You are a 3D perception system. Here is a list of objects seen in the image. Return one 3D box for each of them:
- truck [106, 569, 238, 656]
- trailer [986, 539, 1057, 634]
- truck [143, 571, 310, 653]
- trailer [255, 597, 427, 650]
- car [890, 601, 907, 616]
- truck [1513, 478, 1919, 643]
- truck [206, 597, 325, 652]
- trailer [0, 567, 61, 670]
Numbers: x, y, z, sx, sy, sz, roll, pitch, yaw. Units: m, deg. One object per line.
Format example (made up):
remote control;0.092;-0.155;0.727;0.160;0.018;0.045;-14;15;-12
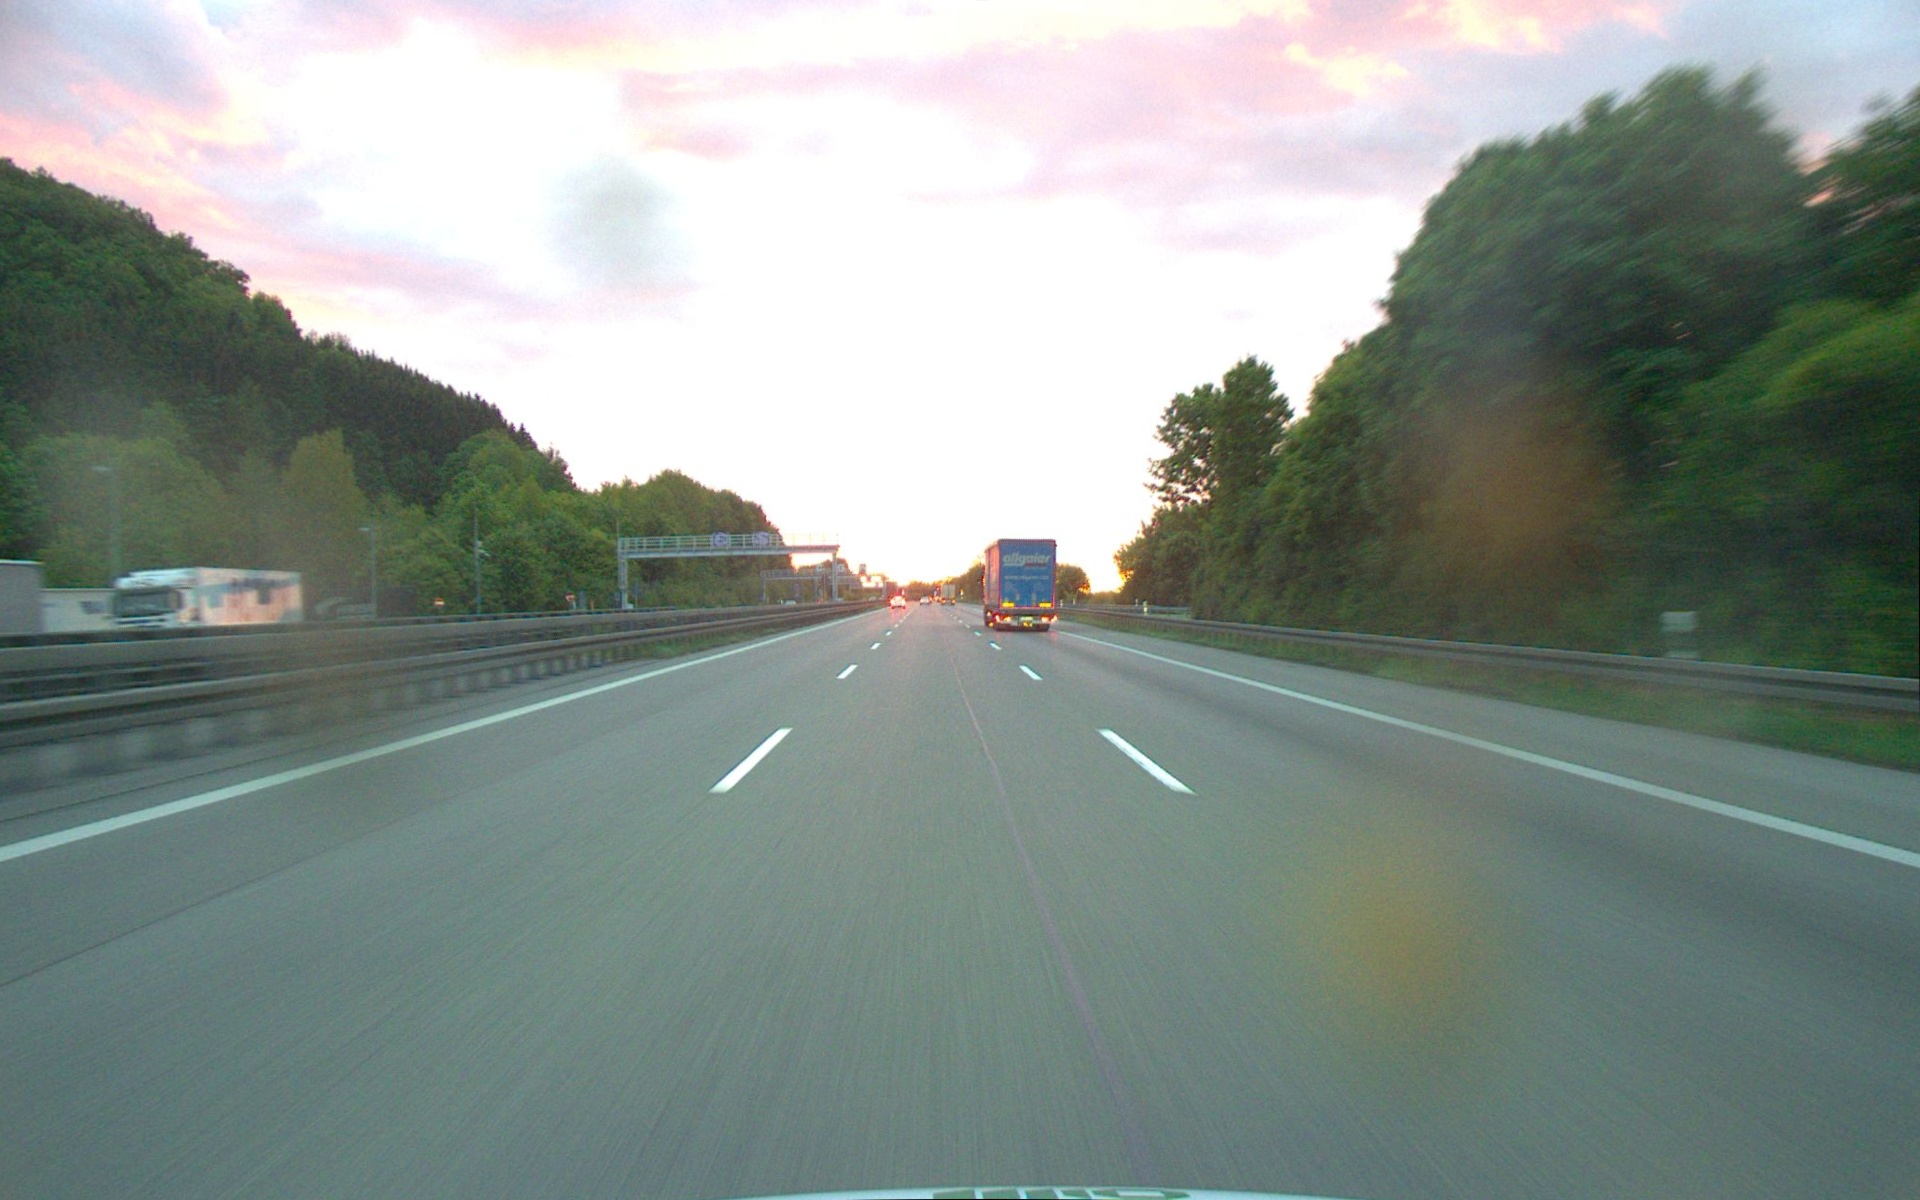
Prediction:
truck;-33.191;0.488;69.962;2.817;3.485;6.719;0;0;-5
trailer;2.824;-0.536;79.493;2.715;4.158;13.736;0;0;-1
truck;-33.811;0.488;77.052;2.817;3.485;13.774;0;0;-5
trailer;-46.134;1.646;123.968;3.003;3.743;13.322;0;0;29
car;-7.873;1.113;212.304;1.973;1.780;3.902;-4;0;-2
truck;23.906;-1.009;53.396;3.701;4.303;19.501;-1;0;-6
truck;-49.429;1.703;117.960;2.947;3.743;7.665;0;0;29
trailer;-33.796;0.648;52.747;2.815;3.485;13.849;0;0;0
